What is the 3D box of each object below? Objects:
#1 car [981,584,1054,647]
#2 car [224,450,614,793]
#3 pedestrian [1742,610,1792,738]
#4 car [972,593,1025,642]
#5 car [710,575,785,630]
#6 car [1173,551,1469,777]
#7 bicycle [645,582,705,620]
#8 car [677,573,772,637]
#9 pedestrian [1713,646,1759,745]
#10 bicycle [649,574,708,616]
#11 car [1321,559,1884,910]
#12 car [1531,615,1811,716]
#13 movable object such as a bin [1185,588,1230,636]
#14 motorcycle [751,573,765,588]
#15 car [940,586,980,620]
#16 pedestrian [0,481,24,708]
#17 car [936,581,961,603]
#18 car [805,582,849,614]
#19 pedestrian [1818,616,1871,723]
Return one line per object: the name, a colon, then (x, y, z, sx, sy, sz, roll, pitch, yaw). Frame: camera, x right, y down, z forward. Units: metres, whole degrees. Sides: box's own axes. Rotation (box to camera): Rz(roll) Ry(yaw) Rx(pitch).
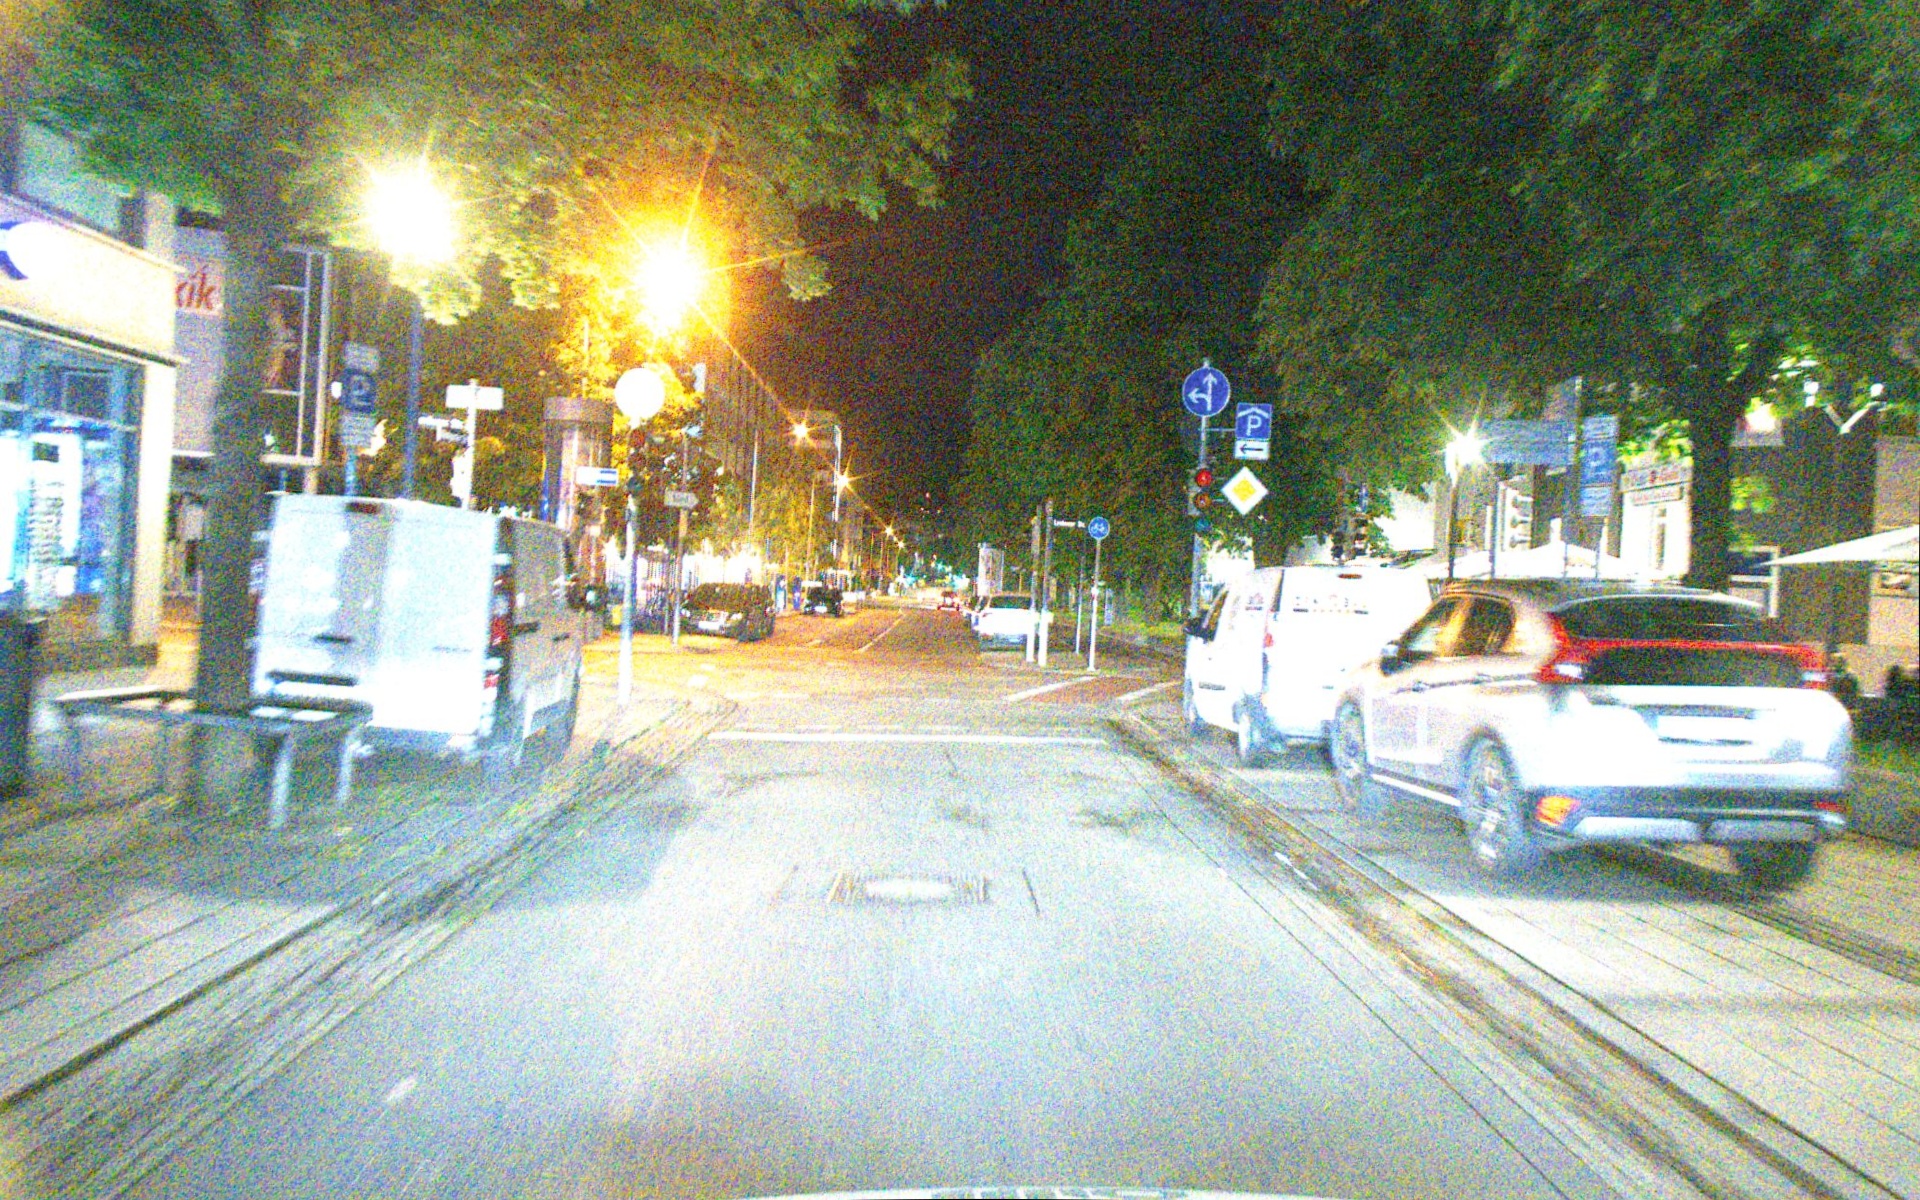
car: (1.479, 0.370, 43.920, 1.734, 1.563, 4.216, 1, 0, 0)
car: (-4.113, 0.119, 13.519, 1.817, 2.123, 5.084, 5, 0, -6)
pedestrian: (10.463, 0.954, 21.446, 0.472, 1.615, 0.370, 3, 0, 35)
car: (1.312, 0.582, 57.584, 1.655, 1.563, 4.015, 3, 0, 0)
car: (-6.436, 0.054, 50.355, 1.687, 1.453, 3.976, 5, 0, -1)
car: (3.376, 0.523, 16.390, 1.753, 1.853, 4.578, 3, 0, -2)
bicycle: (-9.274, 0.028, 53.835, 1.814, 1.053, 0.532, 5, 0, -1)
car: (-6.241, 0.110, 44.291, 1.770, 1.449, 4.920, 5, 0, -1)
pedestrian: (9.648, 1.178, 20.561, 0.383, 1.188, 0.517, 3, 0, 34)
bicycle: (-9.261, -0.158, 54.459, 1.813, 1.275, 0.532, 3, 0, -1)
car: (3.680, 0.652, 10.391, 1.650, 1.688, 4.295, 3, 0, -3)
car: (12.671, 1.146, 29.640, 4.229, 1.558, 1.802, 3, -1, -2)
movable object such as a bin: (7.652, 0.379, 51.167, 1.137, 1.394, 0.993, 4, 0, -2)
motorcycle: (-14.459, -1.389, 118.177, 0.468, 1.038, 1.676, 3, 1, 10)
car: (0.018, 0.132, 76.249, 1.728, 1.439, 4.807, 2, 1, 0)
pedestrian: (-7.727, -0.052, 12.554, 0.655, 1.749, 0.908, 2, 0, -1)
car: (-0.923, -0.670, 134.115, 1.953, 1.672, 3.999, 2, 0, -1)
car: (-6.557, -0.130, 82.047, 1.706, 1.437, 4.495, 4, 1, 0)
pedestrian: (11.037, 0.860, 20.637, 0.518, 1.286, 0.501, 3, 0, 29)
